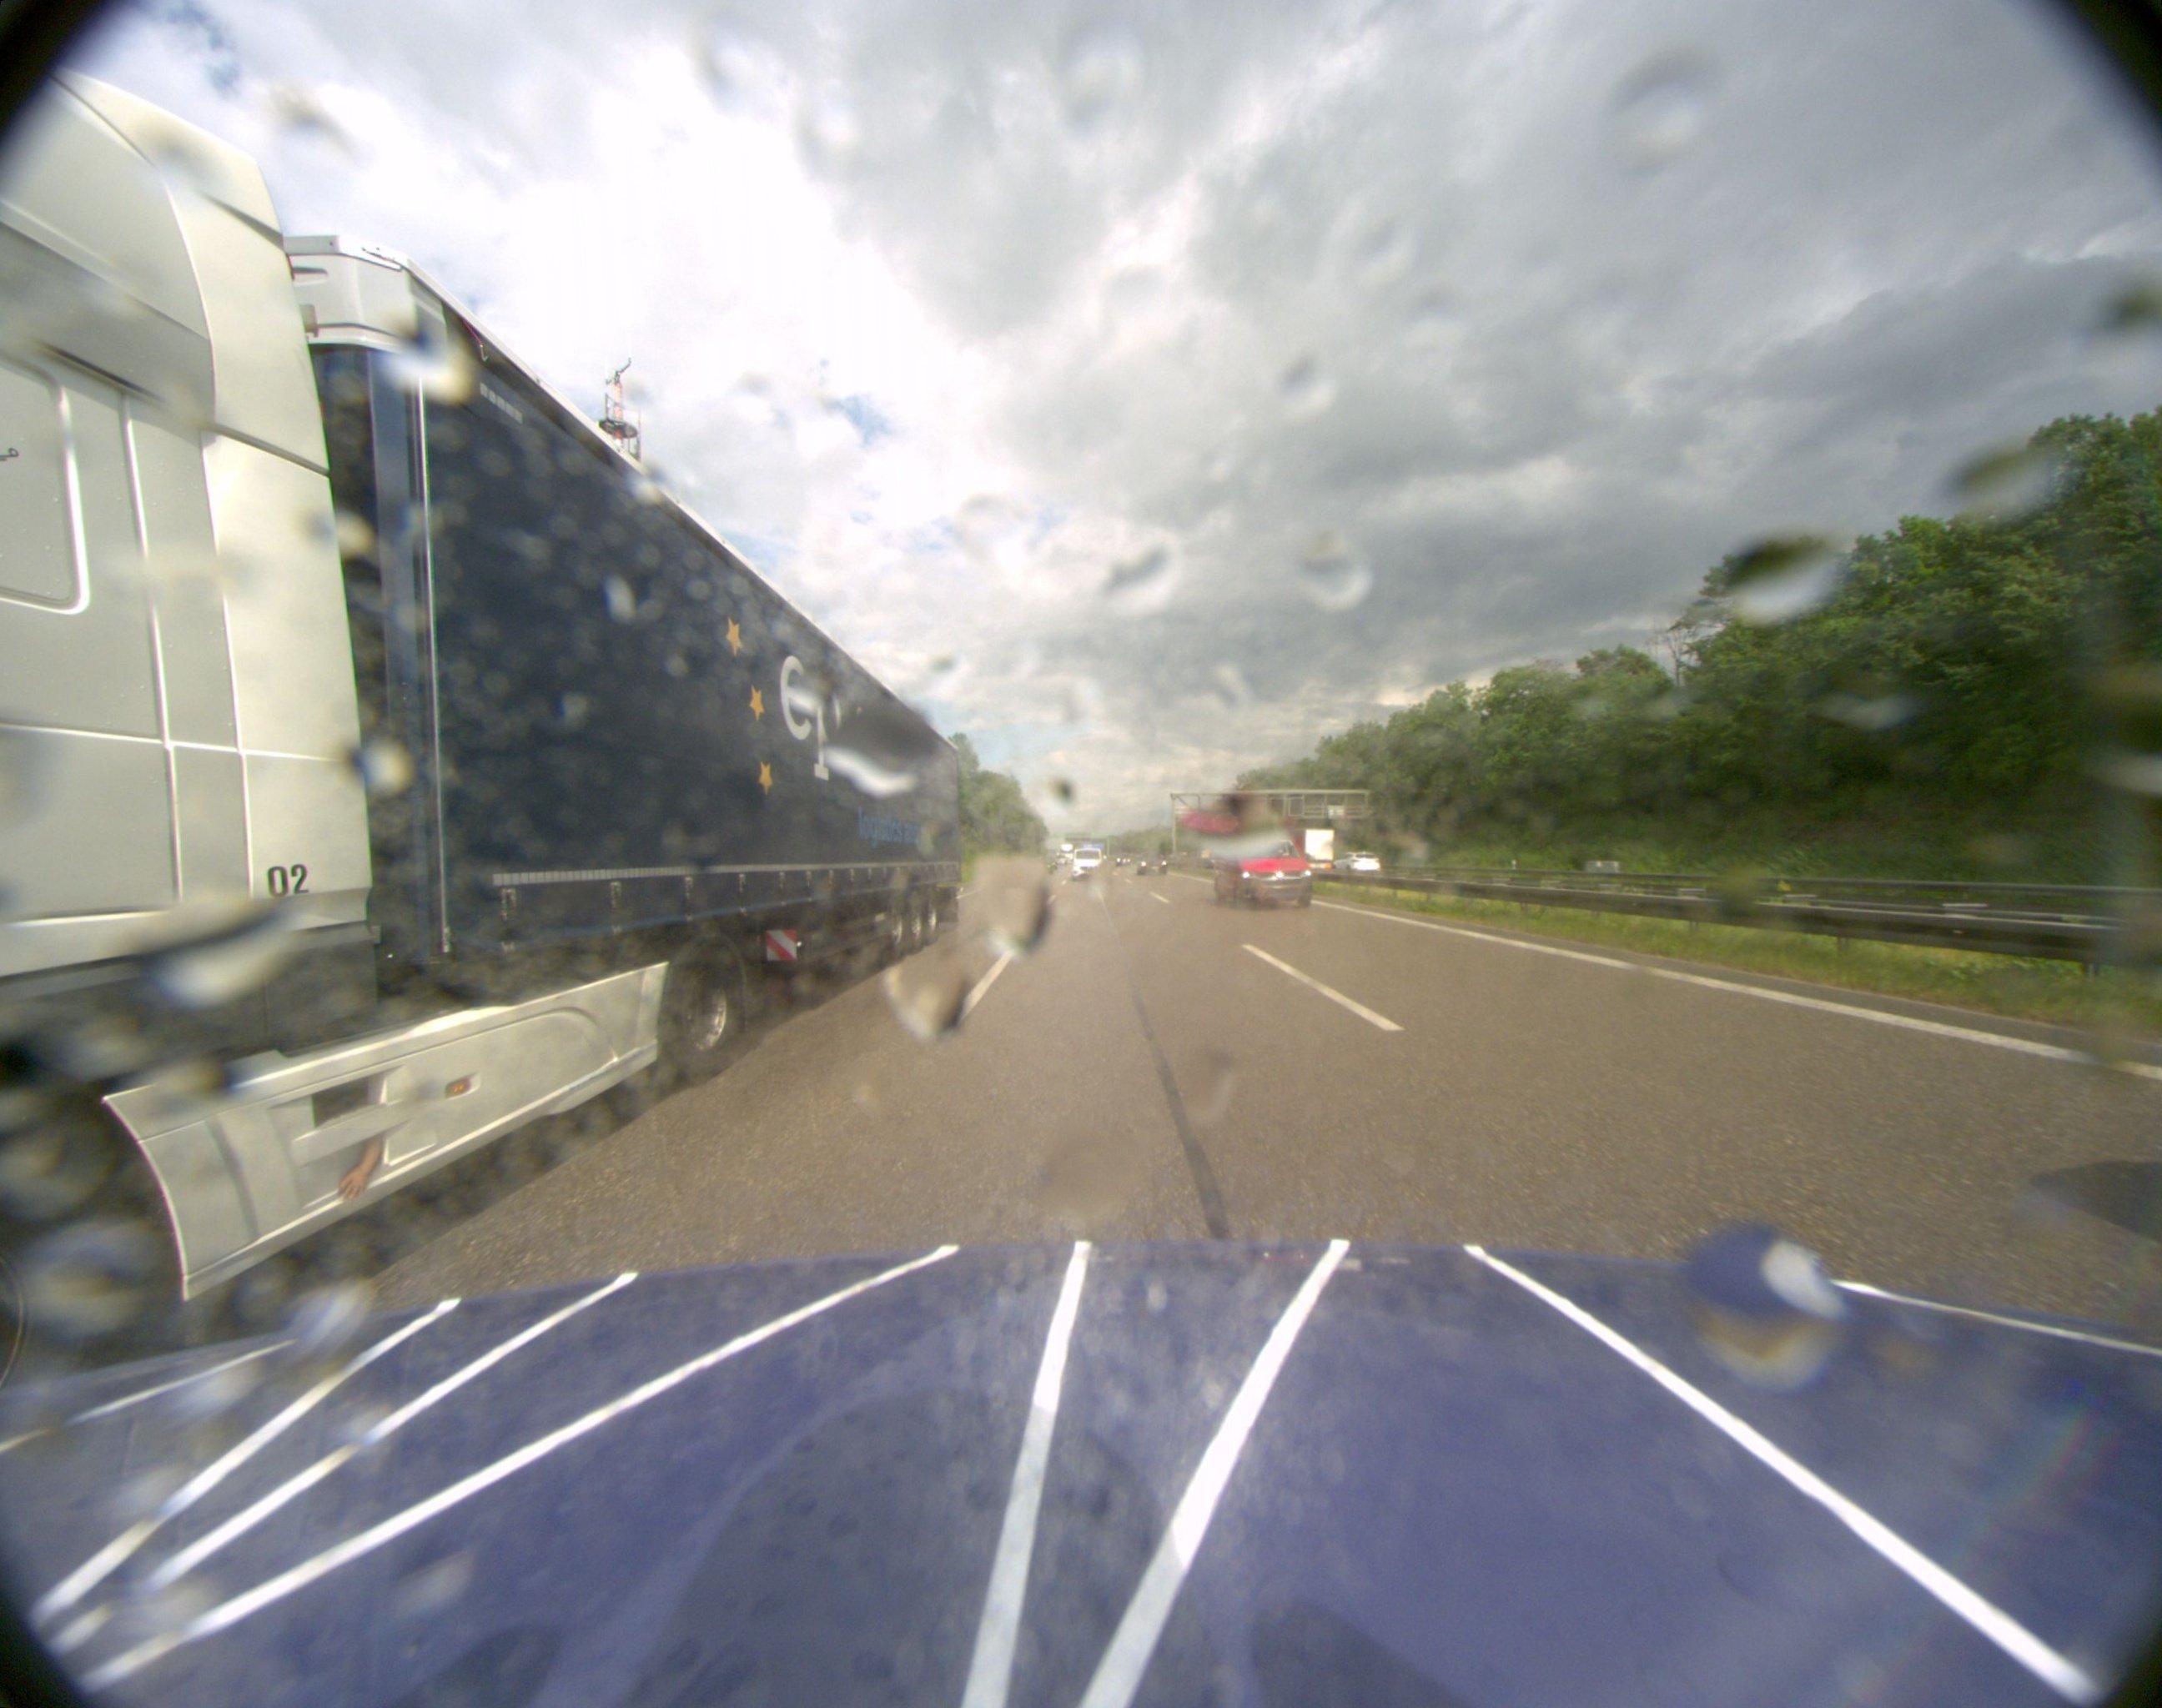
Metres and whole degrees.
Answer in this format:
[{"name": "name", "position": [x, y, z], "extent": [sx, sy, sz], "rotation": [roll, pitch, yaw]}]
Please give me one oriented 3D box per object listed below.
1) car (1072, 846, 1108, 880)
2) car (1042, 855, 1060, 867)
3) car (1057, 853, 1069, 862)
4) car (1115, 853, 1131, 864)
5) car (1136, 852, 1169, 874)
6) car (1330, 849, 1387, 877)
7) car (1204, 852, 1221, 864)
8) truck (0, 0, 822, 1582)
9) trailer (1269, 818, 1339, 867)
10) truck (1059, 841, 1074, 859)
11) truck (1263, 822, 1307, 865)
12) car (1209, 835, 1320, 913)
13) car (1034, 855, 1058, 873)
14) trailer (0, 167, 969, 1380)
[{"name": "car", "position": [0.593, 0.510, 48.903], "extent": [2.124, 1.988, 5.982], "rotation": [-2, 0, 1]}, {"name": "car", "position": [-3.650, 0.831, 93.362], "extent": [1.798, 1.410, 4.839], "rotation": [-2, 0, 1]}, {"name": "car", "position": [-2.934, 0.543, 127.734], "extent": [1.798, 1.410, 4.839], "rotation": [-2, 0, 1]}, {"name": "car", "position": [5.562, 0.593, 100.803], "extent": [1.798, 1.410, 4.839], "rotation": [-2, 0, 1]}, {"name": "car", "position": [5.277, 0.644, 56.266], "extent": [2.009, 1.488, 4.839], "rotation": [-2, 0, 1]}, {"name": "car", "position": [18.379, 0.557, 50.569], "extent": [2.021, 1.653, 4.698], "rotation": [-2, 0, 0]}, {"name": "car", "position": [18.962, 0.576, 109.867], "extent": [1.704, 1.653, 4.235], "rotation": [-2, 0, 0]}, {"name": "truck", "position": [-3.938, -0.218, 3.744], "extent": [2.613, 3.972, 7.289], "rotation": [-2, 1, 0]}, {"name": "trailer", "position": [22.262, -1.097, 77.031], "extent": [2.870, 4.347, 14.090], "rotation": [-2, 0, 0]}, {"name": "truck", "position": [-3.072, -0.938, 167.348], "extent": [3.064, 3.827, 8.799], "rotation": [0, 0, 0]}, {"name": "truck", "position": [22.275, -1.143, 83.289], "extent": [2.870, 4.347, 6.867], "rotation": [-2, 1, 0]}, {"name": "car", "position": [4.934, 0.465, 21.142], "extent": [1.926, 1.855, 4.839], "rotation": [-2, 0, 1]}, {"name": "car", "position": [-3.140, 0.877, 69.323], "extent": [1.798, 1.410, 4.839], "rotation": [-2, 0, 1]}, {"name": "trailer", "position": [-3.898, -0.262, 9.548], "extent": [2.641, 3.972, 14.063], "rotation": [-2, 0, 0]}]
